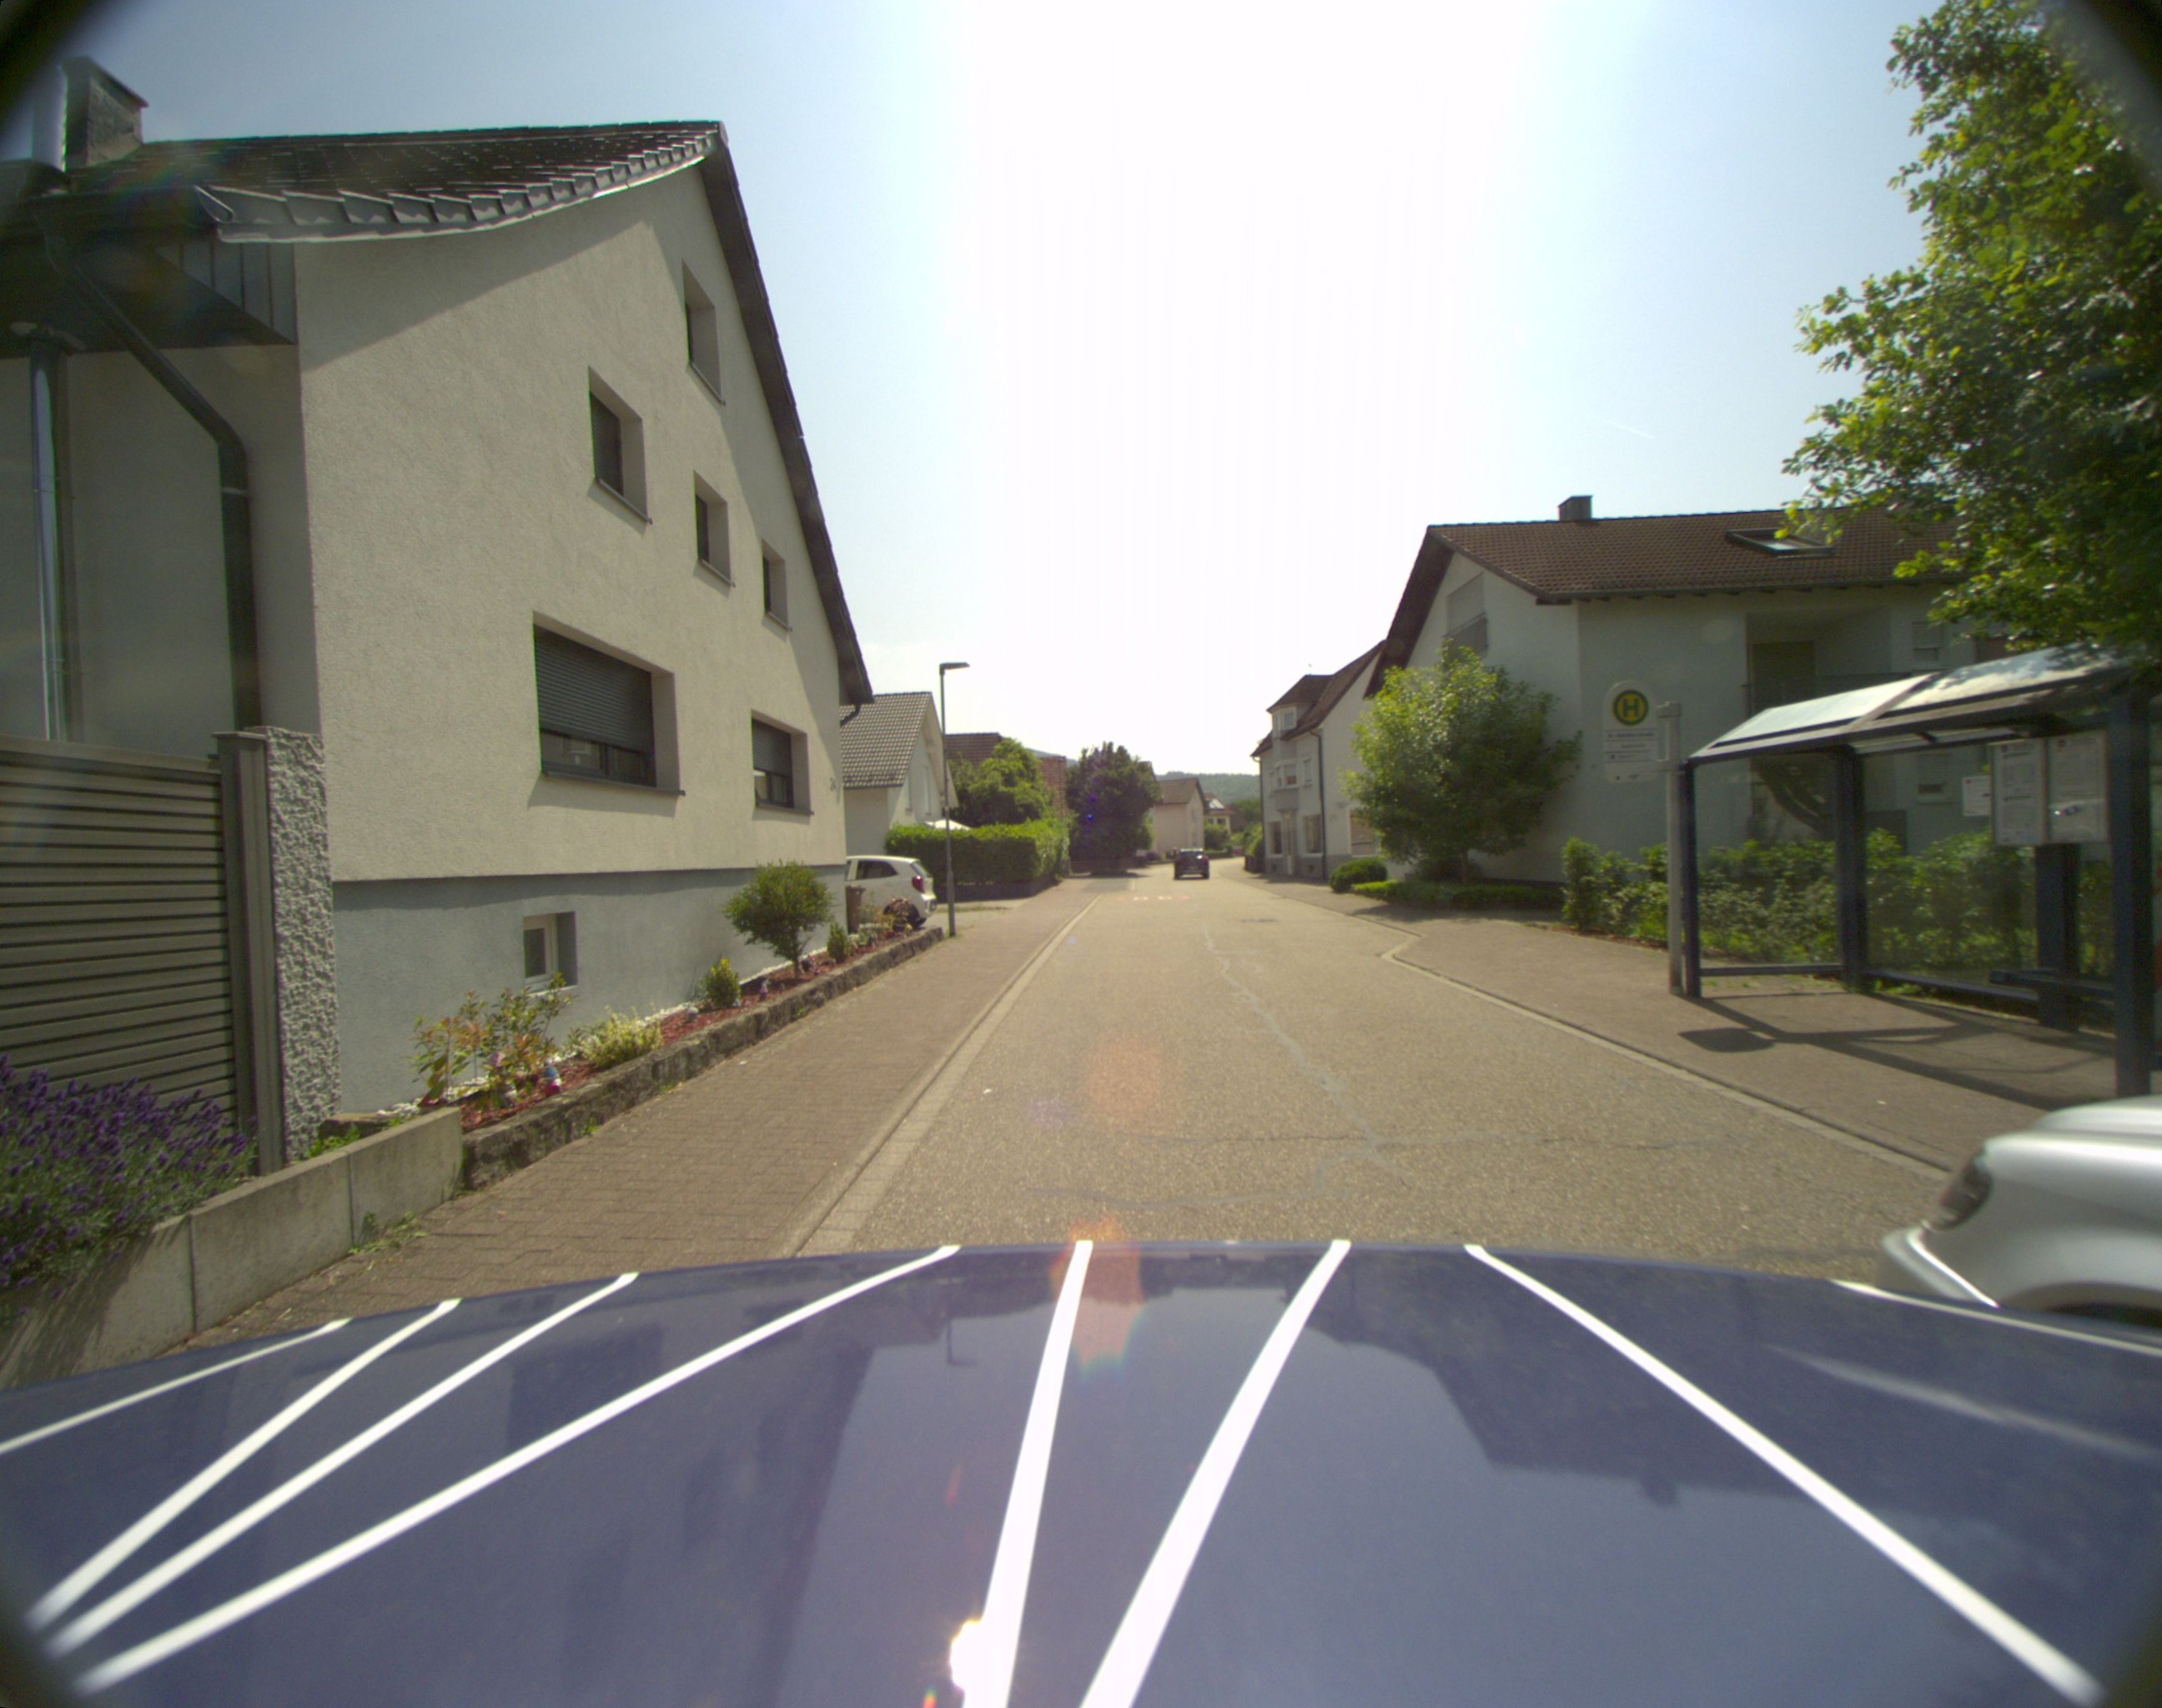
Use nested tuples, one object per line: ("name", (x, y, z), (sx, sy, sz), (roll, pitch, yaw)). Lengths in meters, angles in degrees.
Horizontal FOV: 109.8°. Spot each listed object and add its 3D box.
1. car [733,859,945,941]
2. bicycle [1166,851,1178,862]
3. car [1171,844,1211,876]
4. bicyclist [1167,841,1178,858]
("car", (-4.720, 0.878, 15.214), (3.667, 1.466, 1.765), (-1, 0, -2))
("bicycle", (7.988, 0.198, 66.653), (0.520, 0.899, 1.315), (-2, 1, 35))
("car", (5.870, 0.284, 40.946), (1.780, 1.614, 4.106), (-1, 1, 4))
("bicyclist", (8.063, -0.388, 66.779), (0.546, 1.481, 0.798), (-2, 2, 35))
